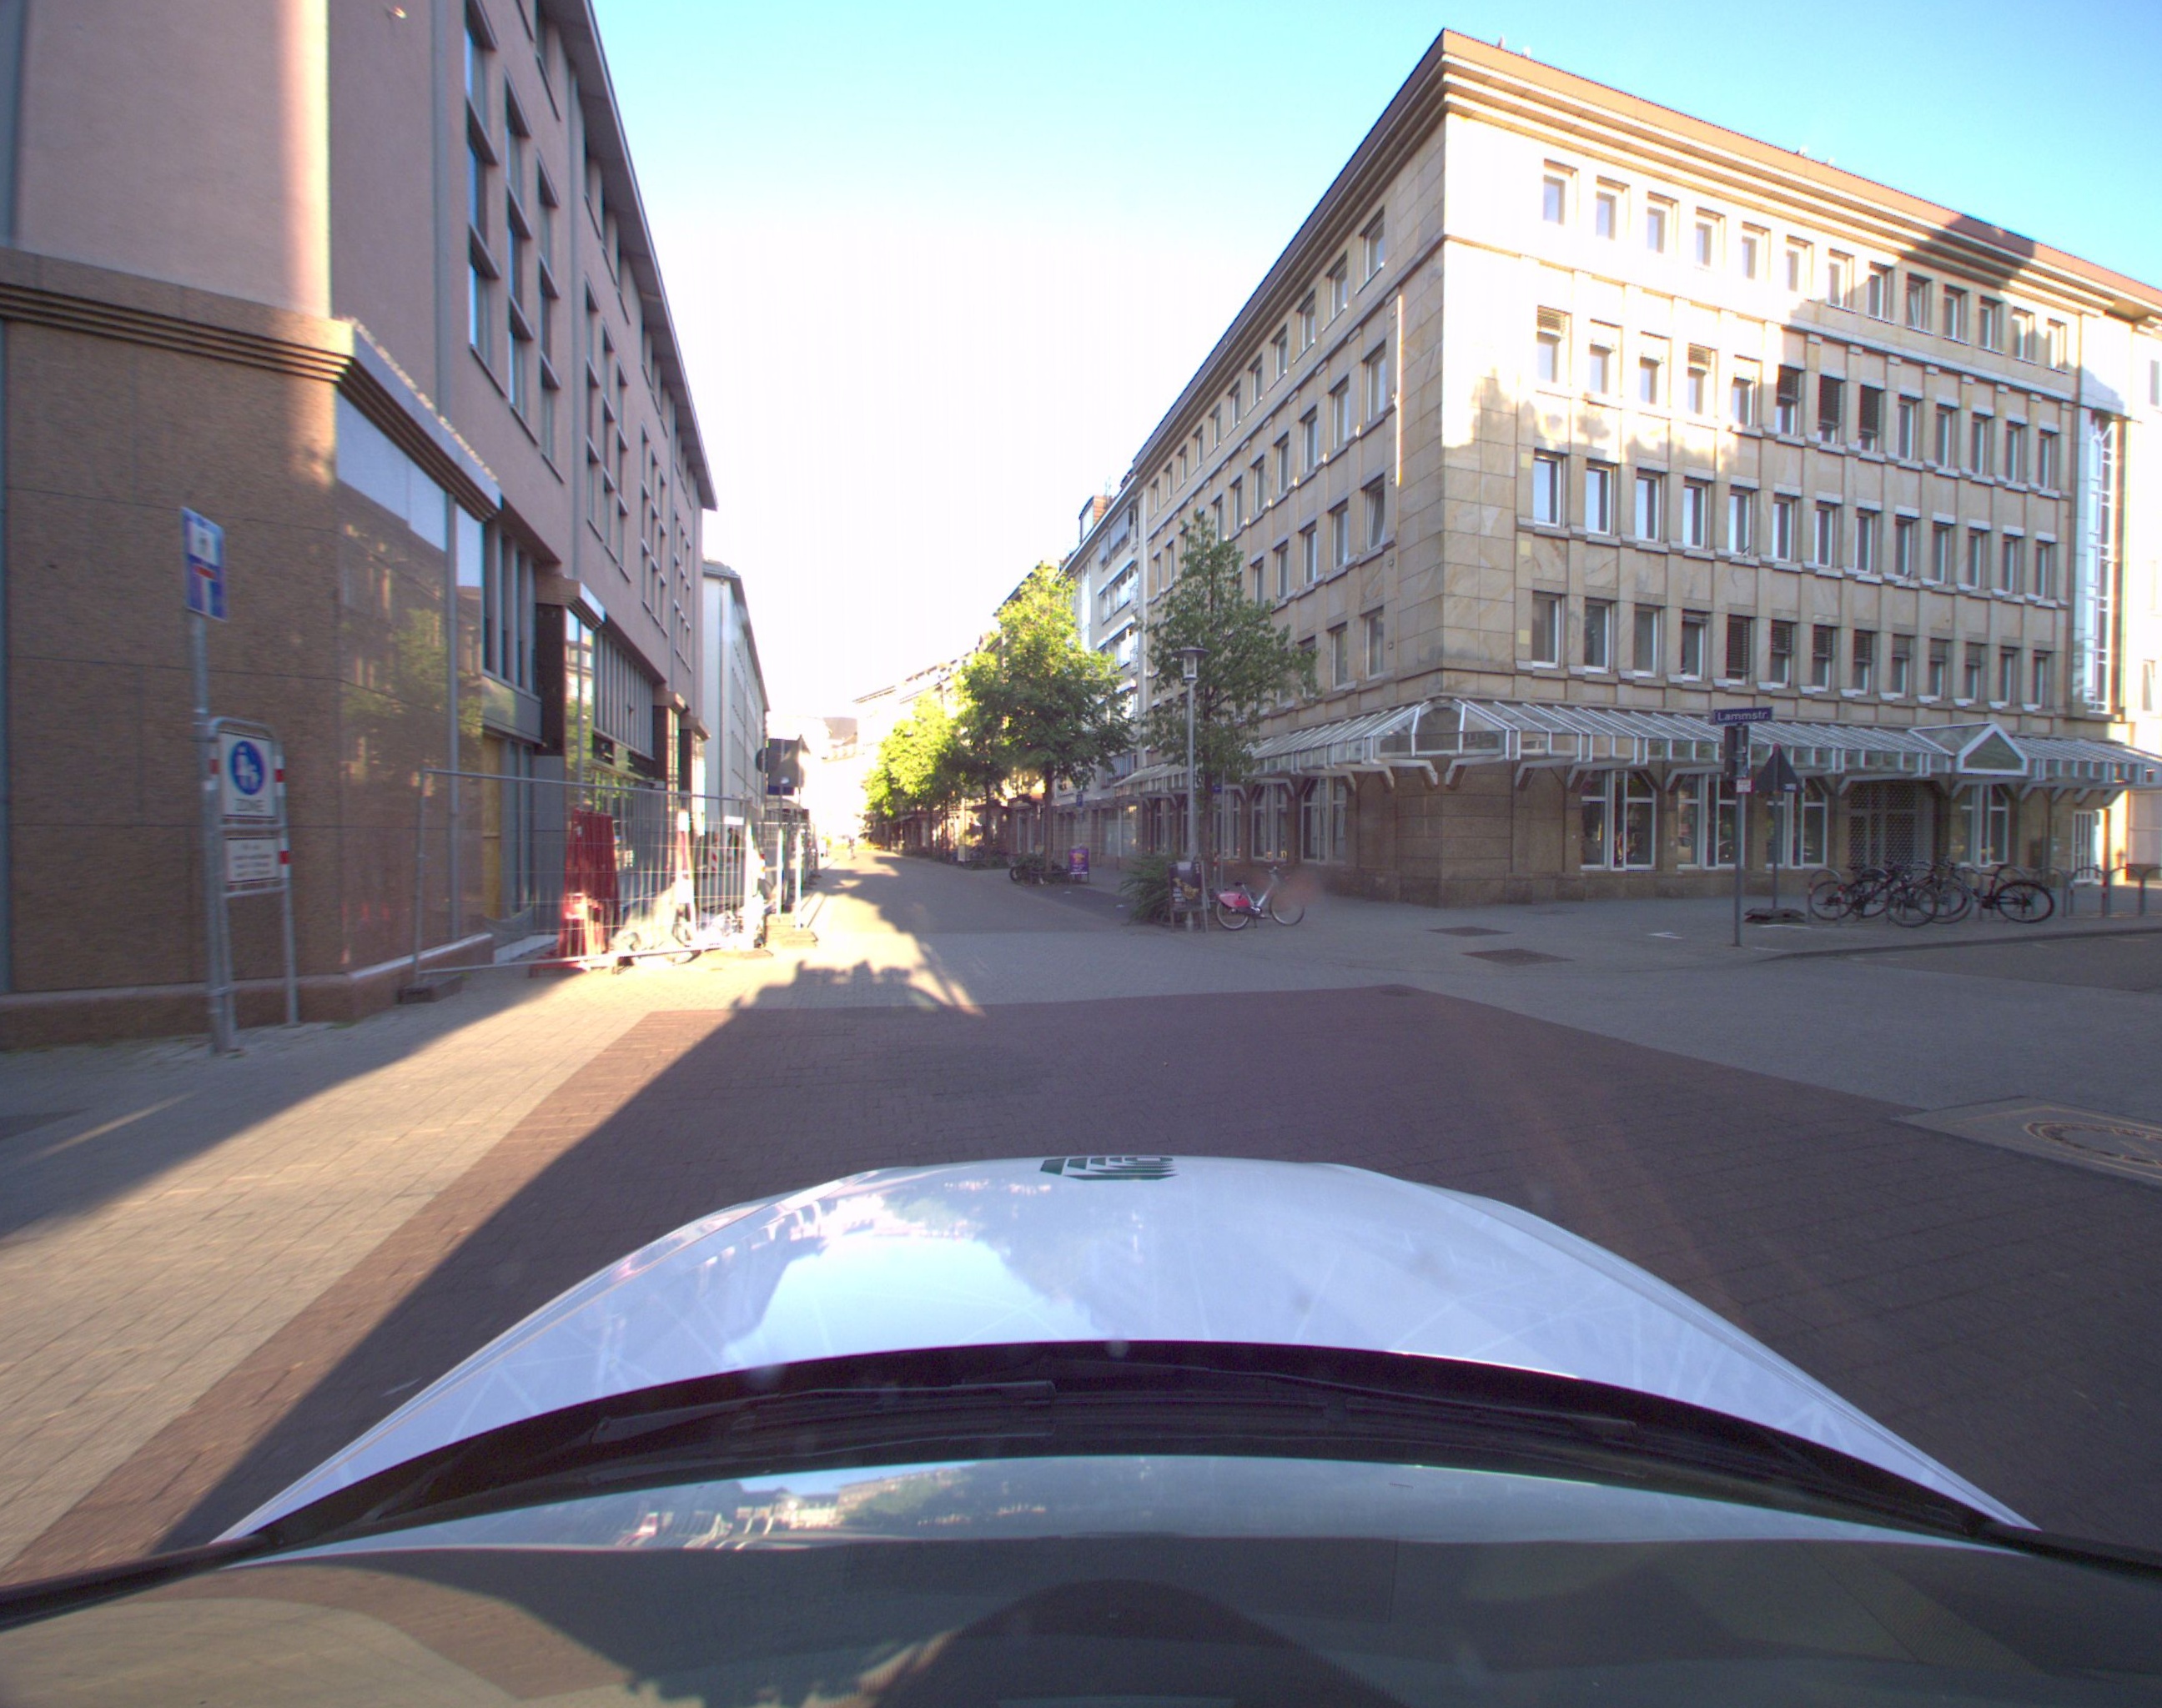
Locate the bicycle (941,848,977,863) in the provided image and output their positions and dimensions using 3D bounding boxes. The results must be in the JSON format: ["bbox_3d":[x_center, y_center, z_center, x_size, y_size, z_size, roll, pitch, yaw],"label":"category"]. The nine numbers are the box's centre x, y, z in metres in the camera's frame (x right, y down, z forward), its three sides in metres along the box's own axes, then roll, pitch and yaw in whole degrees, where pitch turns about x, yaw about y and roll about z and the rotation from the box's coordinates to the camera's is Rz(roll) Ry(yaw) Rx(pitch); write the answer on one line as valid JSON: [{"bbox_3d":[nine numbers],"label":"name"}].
[{"bbox_3d":[-7.761,0.115,51.828,2.163,0.926,0.586,-1,0,-24],"label":"bicycle"}]

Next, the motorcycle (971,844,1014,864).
[{"bbox_3d":[-4.969,-0.001,46.083,2.491,1.095,0.584,-1,0,-39],"label":"motorcycle"}]

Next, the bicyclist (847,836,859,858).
[{"bbox_3d":[-15.426,-0.494,55.032,0.723,1.468,0.713,0,1,-18],"label":"bicyclist"}]

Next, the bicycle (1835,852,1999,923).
[{"bbox_3d":[14.308,0.535,14.029,0.543,1.050,1.940,0,3,-14],"label":"bicycle"}]

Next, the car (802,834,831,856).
[{"bbox_3d":[-20.165,-0.699,61.995,1.849,1.683,3.619,-1,1,-21],"label":"car"}]

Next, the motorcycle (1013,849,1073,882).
[{"bbox_3d":[-1.391,0.410,30.134,2.160,1.151,0.491,-1,0,-20],"label":"motorcycle"}]

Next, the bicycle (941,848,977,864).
[{"bbox_3d":[-7.638,0.126,50.920,2.163,0.926,0.586,-1,0,-24],"label":"bicycle"}]

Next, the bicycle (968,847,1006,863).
[{"bbox_3d":[-5.438,0.054,47.134,2.167,0.926,0.585,-1,0,-32],"label":"bicycle"}]

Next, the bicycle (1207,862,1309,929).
[{"bbox_3d":[3.136,0.732,14.495,1.650,1.050,0.663,-3,2,1],"label":"bicycle"}]

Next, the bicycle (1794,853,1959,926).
[{"bbox_3d":[13.181,0.549,13.586,0.543,1.050,1.939,0,3,-15],"label":"bicycle"}]

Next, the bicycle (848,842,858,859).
[{"bbox_3d":[-15.456,-0.232,55.133,0.590,1.095,2.147,-1,0,-17],"label":"bicycle"}]

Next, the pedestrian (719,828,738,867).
[{"bbox_3d":[-15.874,-0.306,36.725,0.655,1.763,0.631,0,1,-12],"label":"pedestrian"}]

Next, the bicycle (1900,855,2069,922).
[{"bbox_3d":[15.763,0.559,14.288,0.513,1.028,1.938,-1,2,-17],"label":"bicycle"}]

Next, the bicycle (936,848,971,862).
[{"bbox_3d":[-8.280,0.064,52.710,2.163,0.926,0.586,-1,0,-24],"label":"bicycle"}]

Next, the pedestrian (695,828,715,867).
[{"bbox_3d":[-16.784,-0.284,36.359,0.655,1.725,0.631,0,1,-12],"label":"pedestrian"}]

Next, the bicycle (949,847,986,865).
[{"bbox_3d":[-6.761,0.125,48.641,2.148,1.061,0.590,-1,0,-3],"label":"bicycle"}]

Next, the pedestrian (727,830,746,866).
[{"bbox_3d":[-15.783,-0.291,37.330,0.655,1.651,0.631,0,1,-12],"label":"pedestrian"}]
